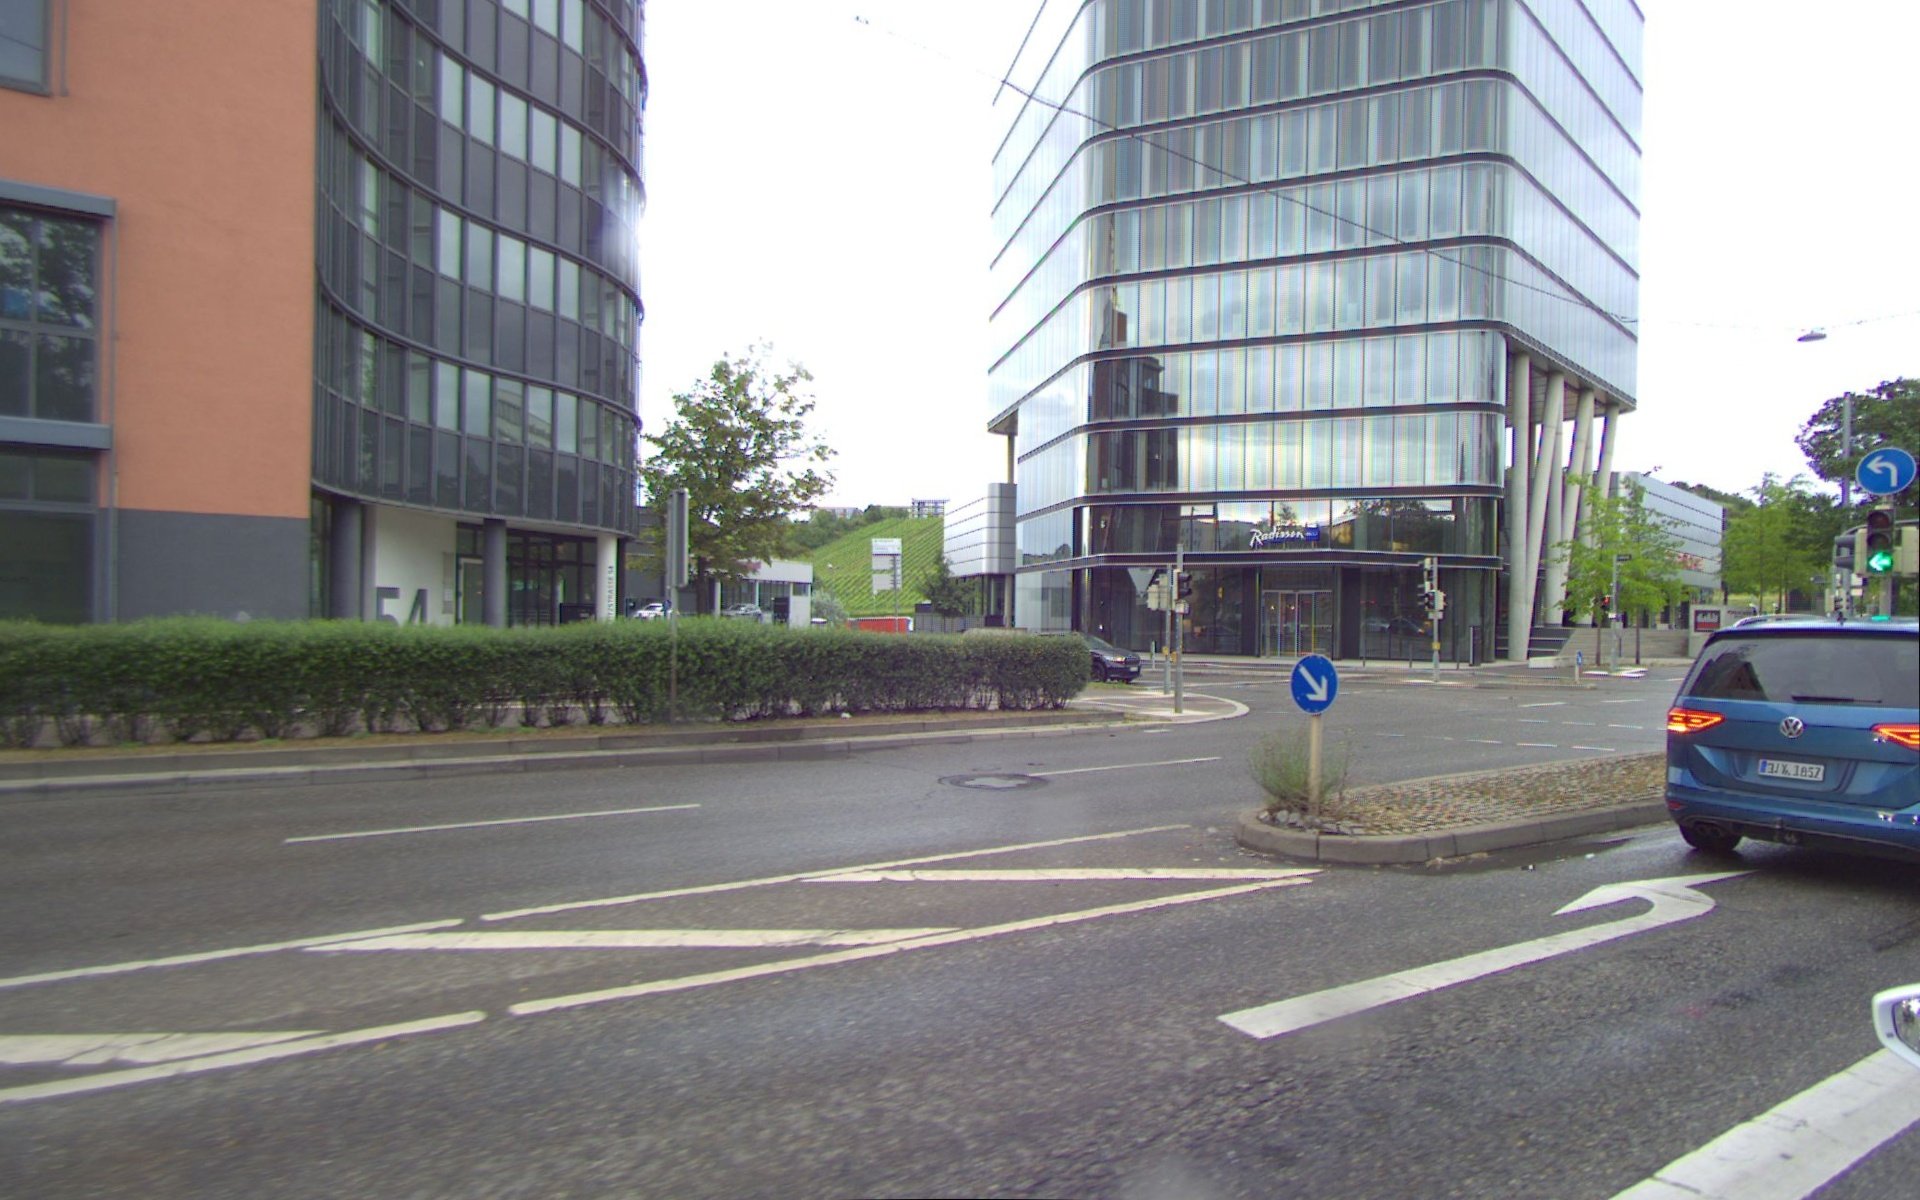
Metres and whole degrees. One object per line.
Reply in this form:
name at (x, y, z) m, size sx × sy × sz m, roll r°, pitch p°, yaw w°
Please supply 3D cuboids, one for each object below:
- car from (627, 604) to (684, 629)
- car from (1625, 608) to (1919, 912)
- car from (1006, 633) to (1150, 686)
car at (-21.383, 1.171, 70.694) m, size 1.782 × 1.672 × 3.815 m, roll 0°, pitch -2°, yaw 23°
car at (6.641, 0.914, 6.909) m, size 4.146 × 1.617 × 1.765 m, roll 2°, pitch -2°, yaw -29°
car at (3.730, 1.851, 32.241) m, size 4.307 × 1.530 × 1.848 m, roll -1°, pitch -1°, yaw 40°
